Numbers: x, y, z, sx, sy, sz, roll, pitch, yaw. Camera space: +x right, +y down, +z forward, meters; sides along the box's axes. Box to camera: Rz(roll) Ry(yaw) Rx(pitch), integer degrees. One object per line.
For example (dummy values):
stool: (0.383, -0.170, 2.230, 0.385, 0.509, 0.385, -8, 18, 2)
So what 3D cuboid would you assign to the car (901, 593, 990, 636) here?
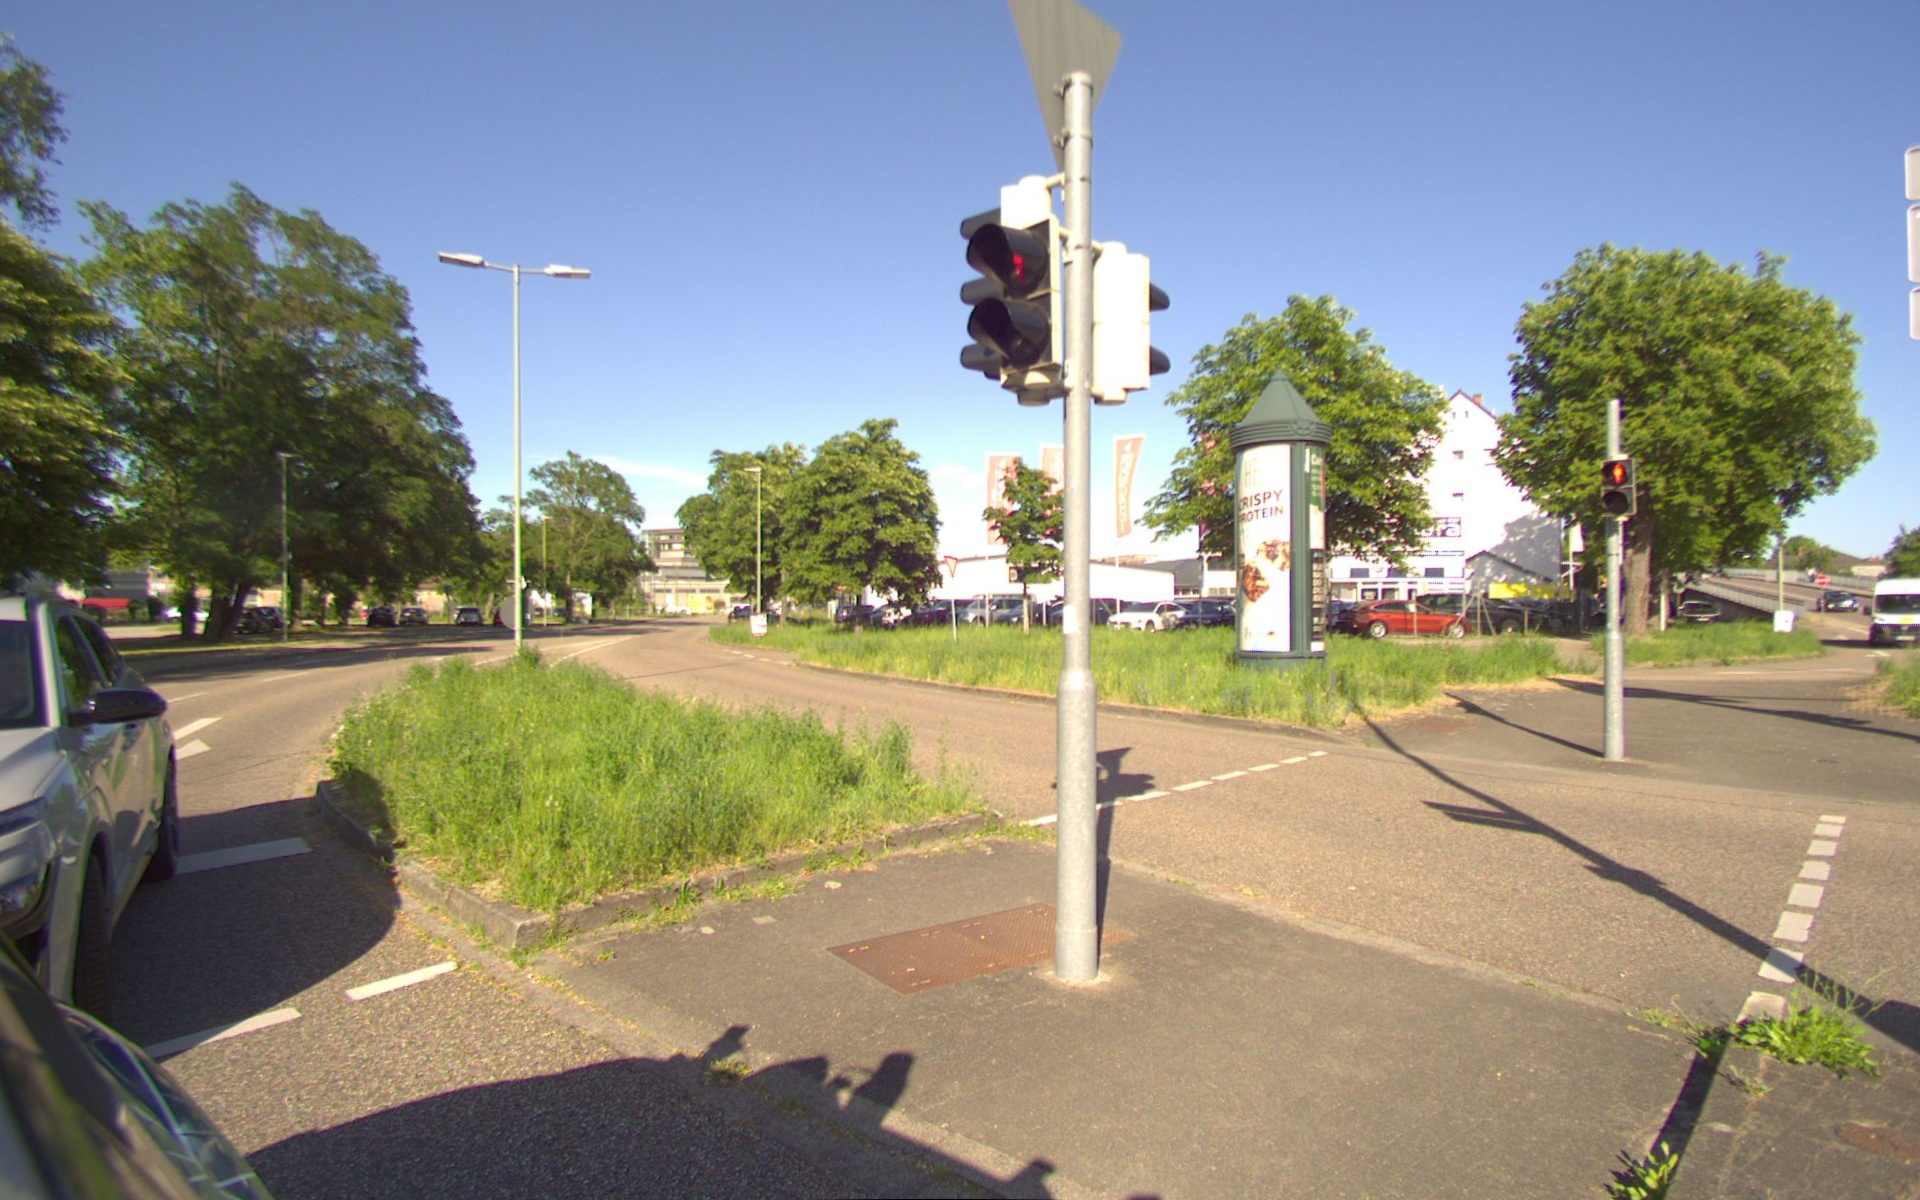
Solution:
car: (-0.712, 0.689, 49.817, 3.934, 2.029, 2.005, 0, -1, -36)

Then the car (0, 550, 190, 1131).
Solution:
car: (-4.470, 0.656, 4.188, 1.687, 1.658, 4.066, 1, 0, -33)

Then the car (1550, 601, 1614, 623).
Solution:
car: (46.028, 0.878, 74.938, 3.623, 1.521, 1.782, -1, 0, 5)

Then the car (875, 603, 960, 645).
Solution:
car: (-2.171, 1.209, 51.986, 3.935, 2.029, 2.004, -1, 0, -37)

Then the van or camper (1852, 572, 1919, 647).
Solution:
van or camper: (35.532, 0.363, 38.177, 2.604, 2.602, 6.522, -3, -2, 40)

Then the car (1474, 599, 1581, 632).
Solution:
car: (28.760, 0.768, 51.406, 4.368, 1.587, 1.805, -1, 0, 15)

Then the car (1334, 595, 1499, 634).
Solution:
car: (16.720, 0.529, 37.339, 4.994, 1.320, 2.358, -1, 0, 4)

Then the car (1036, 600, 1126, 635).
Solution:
car: (5.299, 0.735, 43.922, 1.999, 1.452, 3.945, -2, -1, 41)

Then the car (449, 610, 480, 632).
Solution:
car: (-36.636, 1.548, 74.926, 1.965, 1.461, 4.013, 2, -1, -26)

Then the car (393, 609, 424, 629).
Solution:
car: (-42.507, 1.474, 78.084, 1.840, 1.451, 3.495, 2, -1, -26)

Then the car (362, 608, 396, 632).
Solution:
car: (-41.231, 1.400, 71.880, 1.708, 1.631, 4.013, 2, -1, -26)

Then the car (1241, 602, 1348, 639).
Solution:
car: (14.428, 0.898, 43.719, 3.998, 1.517, 1.808, -2, -1, 41)

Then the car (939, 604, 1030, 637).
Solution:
car: (1.164, 0.927, 47.248, 3.933, 1.419, 1.844, -1, 0, -35)

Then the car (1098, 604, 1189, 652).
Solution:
car: (7.691, 1.135, 42.324, 1.999, 1.901, 3.945, -2, -1, 41)

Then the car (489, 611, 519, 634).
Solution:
car: (-34.242, 1.671, 75.944, 1.965, 1.679, 4.013, 2, -1, -26)

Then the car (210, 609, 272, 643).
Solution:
car: (-40.656, 1.427, 57.342, 1.975, 1.809, 4.013, -1, 0, -22)

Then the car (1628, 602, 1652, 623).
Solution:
car: (67.863, 1.207, 101.095, 1.924, 2.006, 4.208, -1, 0, 34)

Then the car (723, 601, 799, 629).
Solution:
car: (-11.424, 0.834, 57.985, 3.930, 1.541, 1.935, 0, -1, -23)

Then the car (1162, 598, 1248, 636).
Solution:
car: (9.907, 0.671, 40.724, 1.744, 1.473, 3.945, -2, -1, 41)
